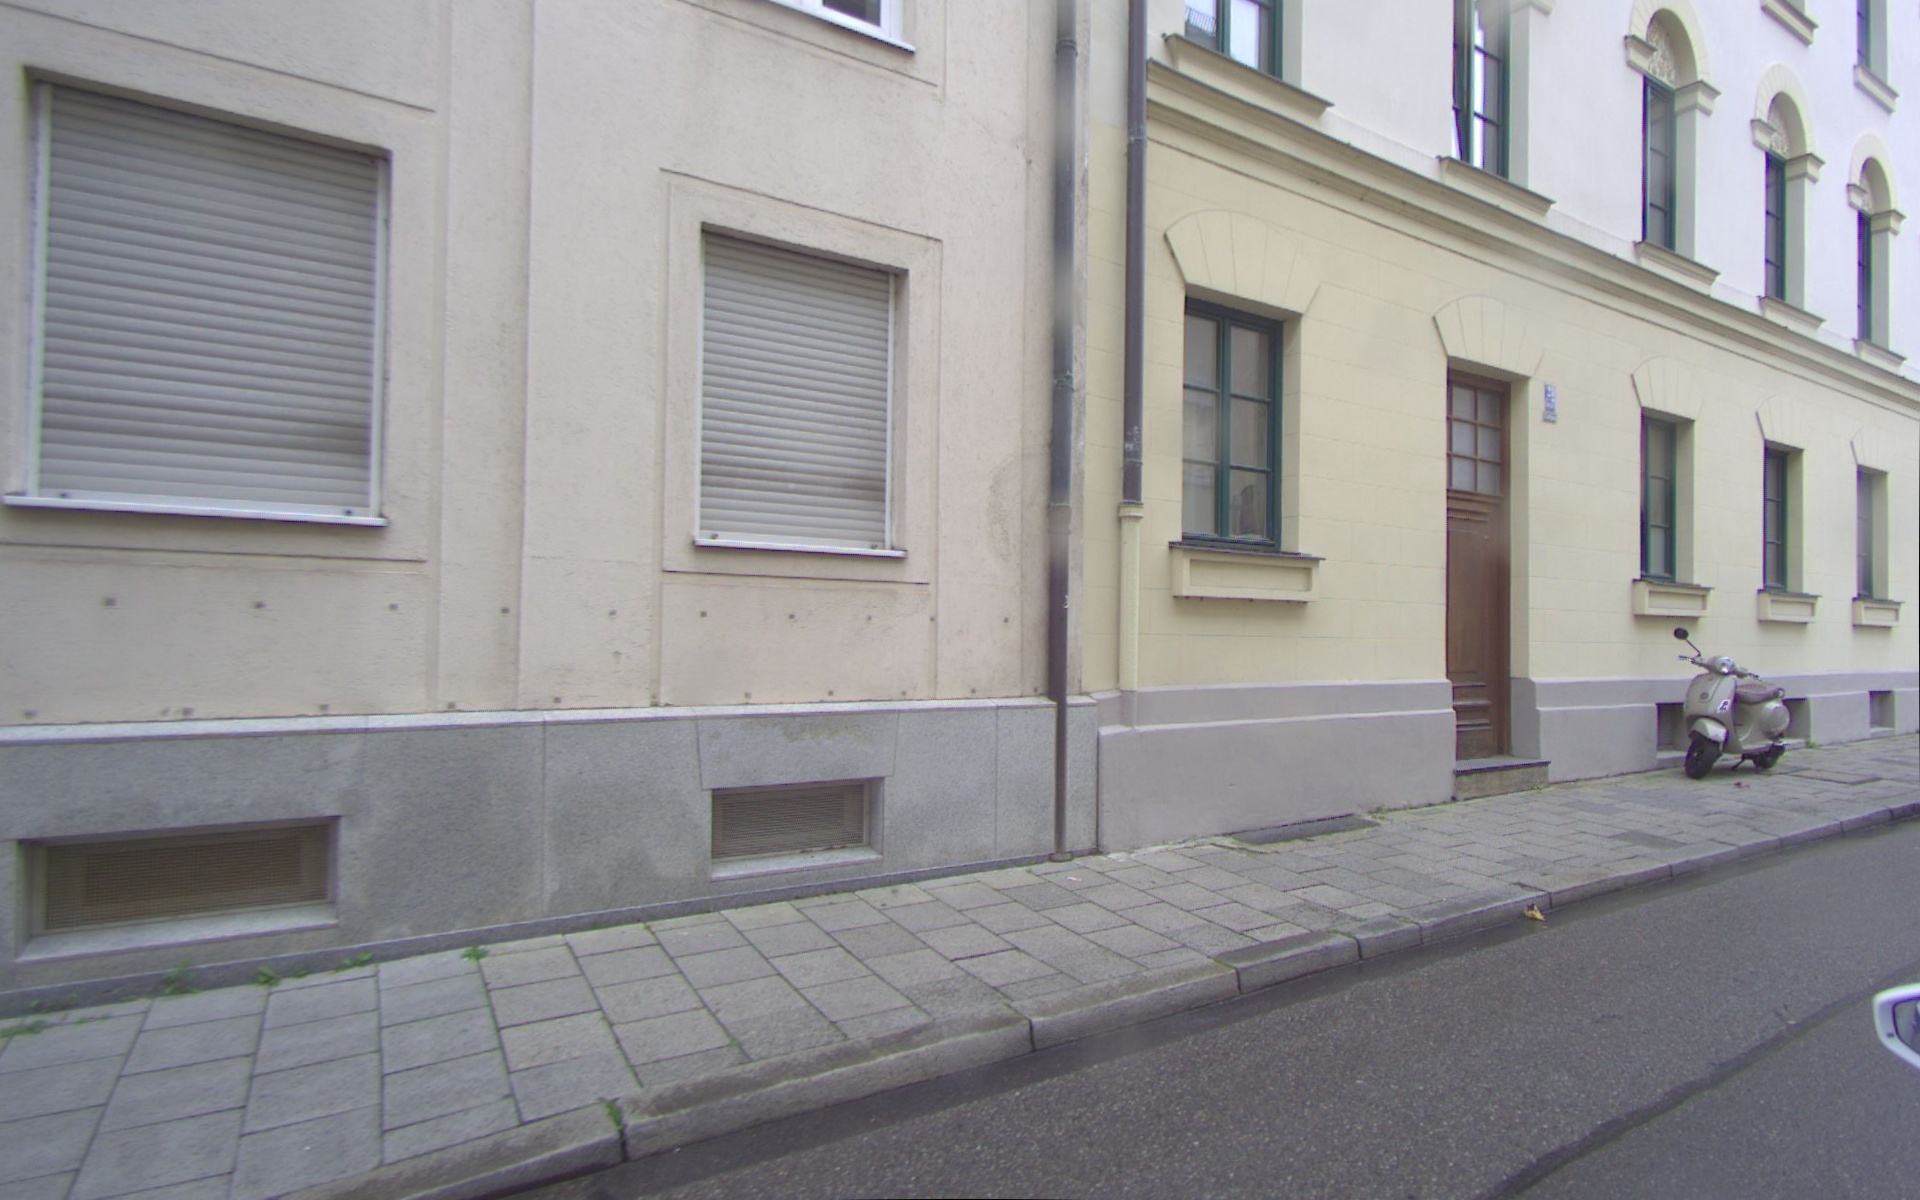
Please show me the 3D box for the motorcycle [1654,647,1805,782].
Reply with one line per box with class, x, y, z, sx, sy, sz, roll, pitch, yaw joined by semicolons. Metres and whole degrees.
motorcycle;7.512;1.069;9.785;1.689;1.189;0.599;1;-1;-31
